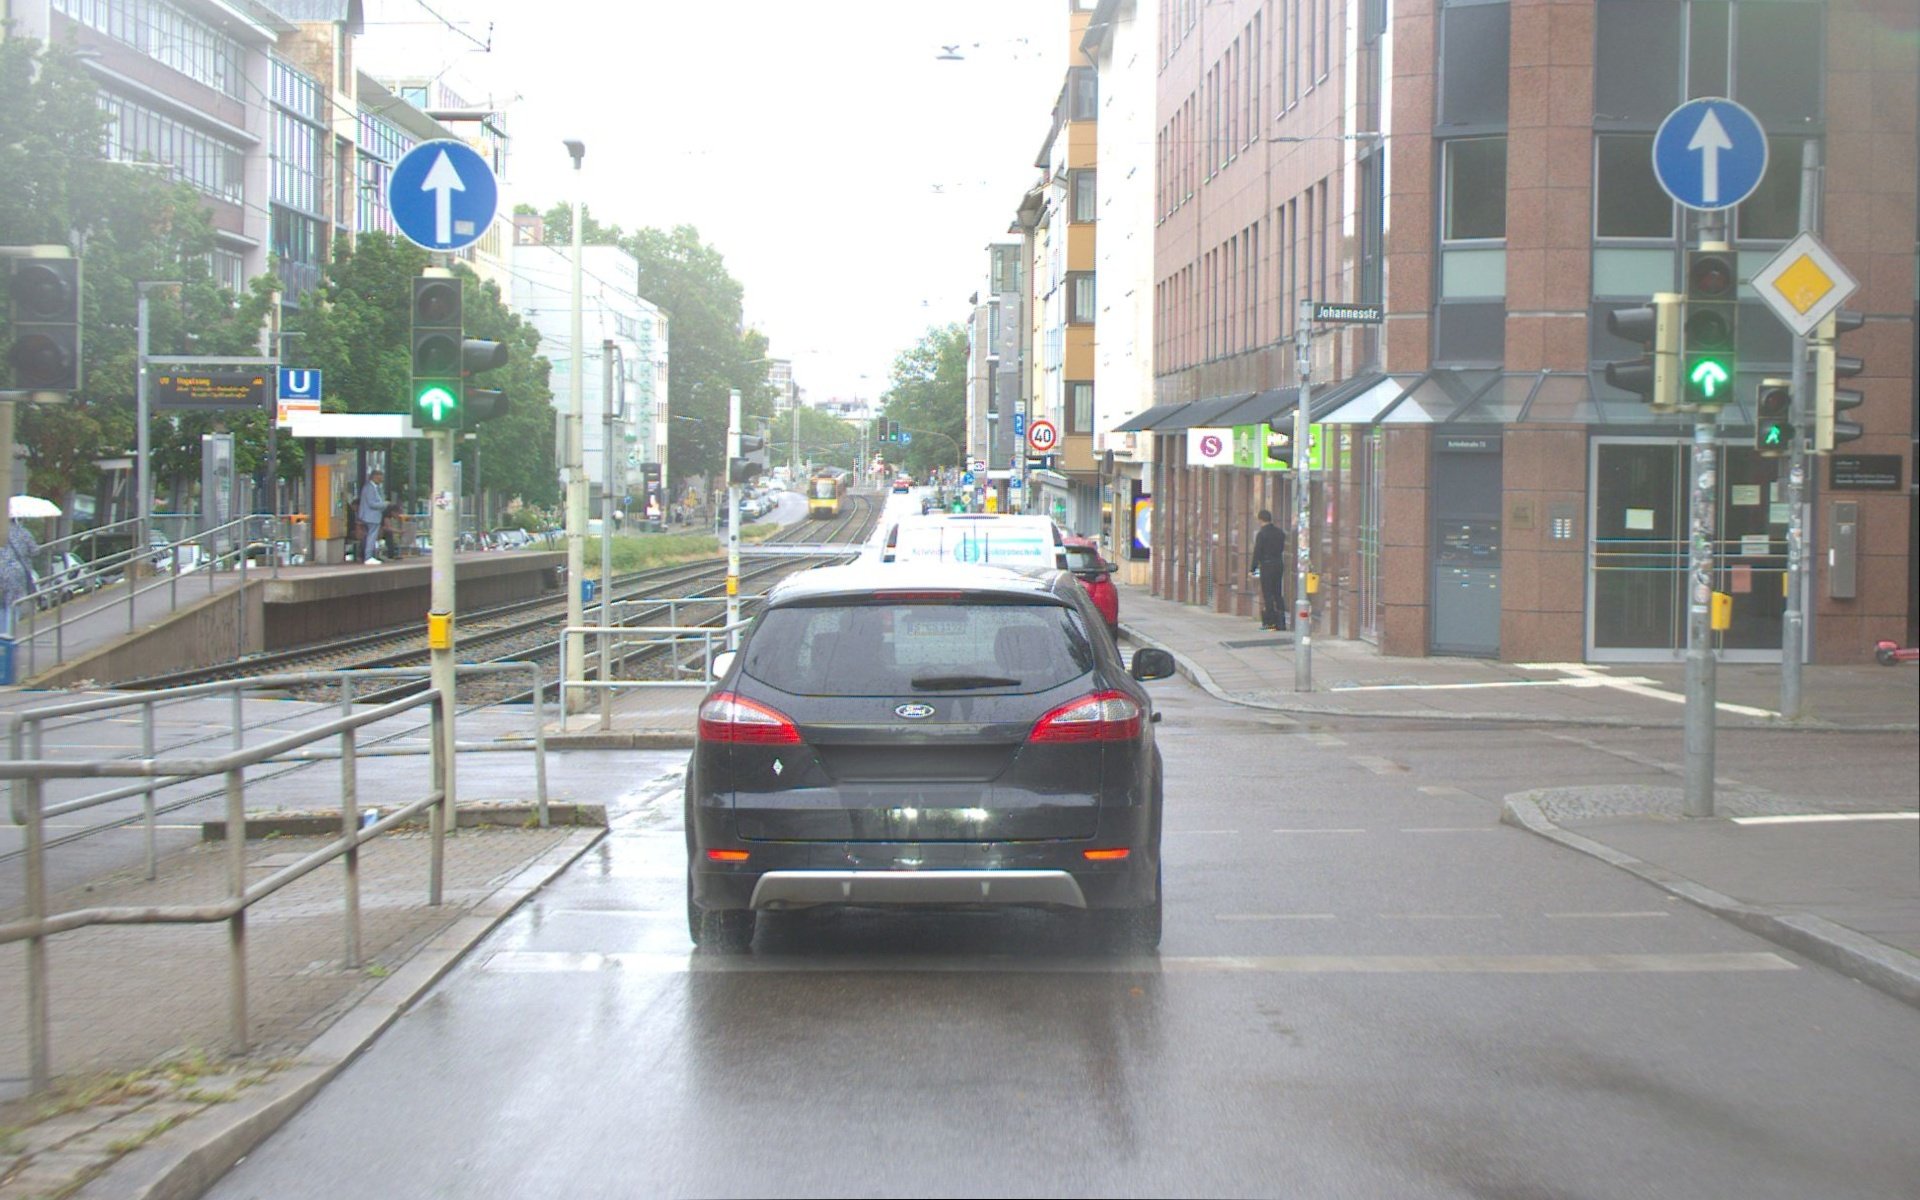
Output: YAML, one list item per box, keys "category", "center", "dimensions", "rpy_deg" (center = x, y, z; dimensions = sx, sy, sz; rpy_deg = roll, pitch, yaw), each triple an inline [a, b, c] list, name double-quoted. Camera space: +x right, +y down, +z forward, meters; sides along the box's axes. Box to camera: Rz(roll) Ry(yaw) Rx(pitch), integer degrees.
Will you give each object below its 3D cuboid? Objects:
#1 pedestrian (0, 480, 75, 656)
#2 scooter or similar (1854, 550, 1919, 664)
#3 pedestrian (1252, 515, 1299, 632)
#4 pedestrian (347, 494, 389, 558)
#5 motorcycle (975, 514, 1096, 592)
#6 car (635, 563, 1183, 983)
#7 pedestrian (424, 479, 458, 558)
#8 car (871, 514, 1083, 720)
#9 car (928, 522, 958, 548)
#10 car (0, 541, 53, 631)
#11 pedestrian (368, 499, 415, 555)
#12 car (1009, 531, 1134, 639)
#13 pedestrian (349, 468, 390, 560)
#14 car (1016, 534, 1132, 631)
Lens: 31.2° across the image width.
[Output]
- category: "pedestrian"
  center: [-11.016, -0.374, 39.928]
  dimensions: [1.116, 2.007, 1.383]
  rpy_deg: [-1, 1, -1]
- category: "scooter or similar"
  center: [10.420, 0.075, 37.248]
  dimensions: [1.374, 1.223, 0.325]
  rpy_deg: [0, 0, 3]
- category: "pedestrian"
  center: [4.498, -0.373, 49.059]
  dimensions: [0.601, 1.653, 0.625]
  rpy_deg: [-1, 1, 0]
- category: "pedestrian"
  center: [-11.483, -1.436, 66.662]
  dimensions: [0.692, 1.245, 0.884]
  rpy_deg: [0, 1, -3]
- category: "motorcycle"
  center: [1.387, -0.860, 63.281]
  dimensions: [2.085, 1.402, 0.798]
  rpy_deg: [0, 1, 18]
- category: "car"
  center: [-0.189, 0.584, 13.689]
  dimensions: [1.906, 1.457, 3.445]
  rpy_deg: [0, 1, 0]
- category: "pedestrian"
  center: [-11.745, -1.844, 77.802]
  dimensions: [0.655, 1.795, 0.850]
  rpy_deg: [0, 1, -3]
- category: "car"
  center: [0.123, 0.123, 33.262]
  dimensions: [1.906, 1.858, 4.574]
  rpy_deg: [0, 1, -1]
- category: "car"
  center: [-1.069, -4.189, 221.431]
  dimensions: [1.906, 1.628, 4.574]
  rpy_deg: [0, 1, 0]
- category: "car"
  center: [-16.291, -0.251, 57.211]
  dimensions: [1.568, 1.431, 3.980]
  rpy_deg: [0, 1, -4]
- category: "pedestrian"
  center: [-11.399, -1.466, 68.952]
  dimensions: [0.892, 1.119, 0.850]
  rpy_deg: [0, 1, -11]
- category: "car"
  center: [1.605, -0.240, 50.640]
  dimensions: [1.698, 1.474, 3.867]
  rpy_deg: [-2, 1, 1]
- category: "pedestrian"
  center: [-11.053, -1.604, 64.381]
  dimensions: [0.655, 1.705, 0.850]
  rpy_deg: [0, 1, -3]
- category: "car"
  center: [1.830, -0.299, 56.226]
  dimensions: [1.698, 1.457, 3.867]
  rpy_deg: [-2, 1, 0]
